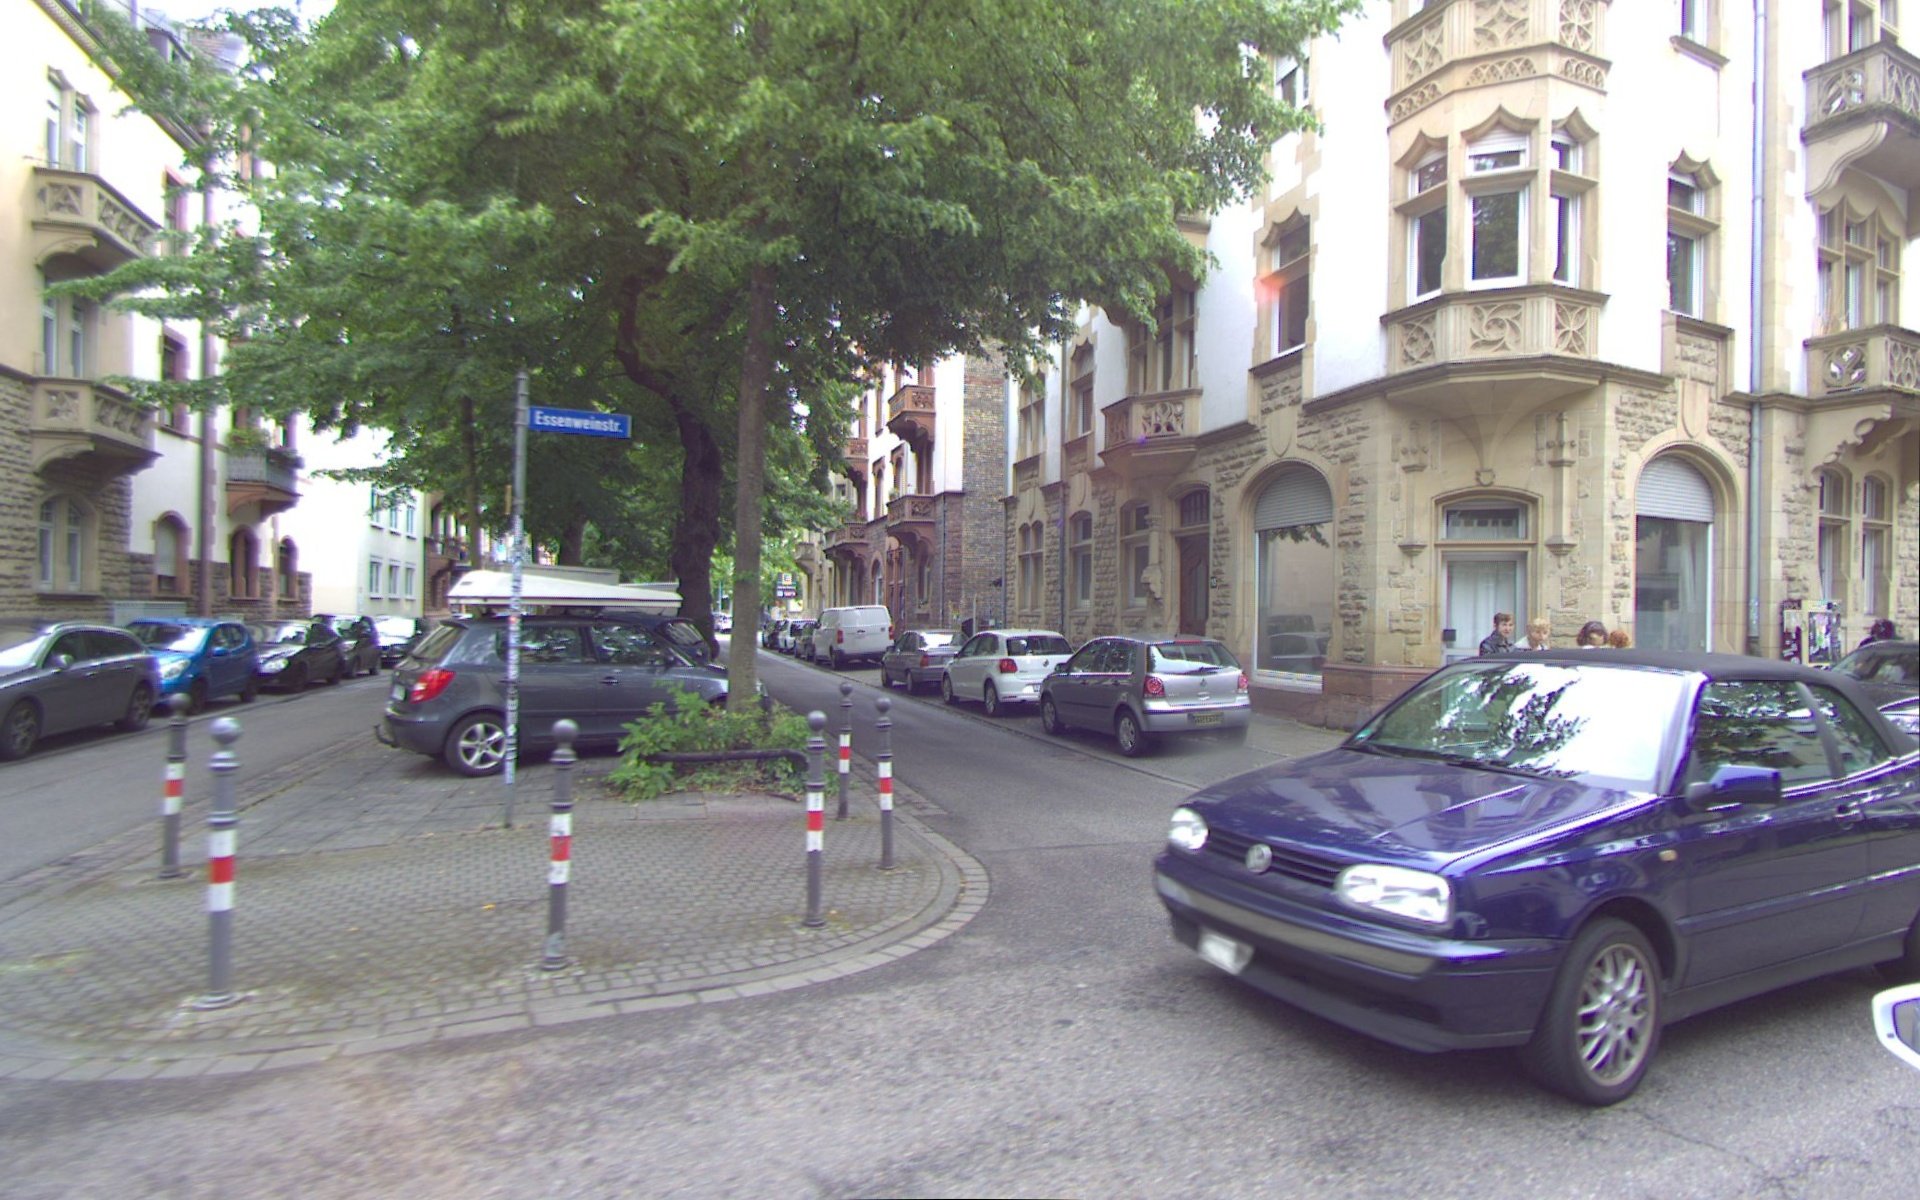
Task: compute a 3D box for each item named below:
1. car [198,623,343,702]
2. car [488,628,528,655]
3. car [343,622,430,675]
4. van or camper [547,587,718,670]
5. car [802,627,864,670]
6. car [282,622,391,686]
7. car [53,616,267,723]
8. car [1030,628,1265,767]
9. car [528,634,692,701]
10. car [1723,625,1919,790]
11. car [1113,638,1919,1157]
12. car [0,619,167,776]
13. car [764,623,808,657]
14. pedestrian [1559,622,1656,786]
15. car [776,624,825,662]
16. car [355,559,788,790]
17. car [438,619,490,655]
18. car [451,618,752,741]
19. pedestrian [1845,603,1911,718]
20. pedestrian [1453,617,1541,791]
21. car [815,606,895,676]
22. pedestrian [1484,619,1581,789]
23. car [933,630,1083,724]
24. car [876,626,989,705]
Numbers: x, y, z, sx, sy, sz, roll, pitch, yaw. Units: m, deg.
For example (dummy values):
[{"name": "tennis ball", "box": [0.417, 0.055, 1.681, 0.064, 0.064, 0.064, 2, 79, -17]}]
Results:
[{"name": "car", "box": [-14.171, 1.245, 20.833, 1.555, 1.367, 3.376, 5, -2, -19]}, {"name": "car", "box": [-23.474, 2.147, 52.223, 1.585, 1.264, 3.376, 0, 0, -19]}, {"name": "car", "box": [-17.063, 1.404, 30.053, 1.555, 1.367, 3.496, 5, -2, -19]}, {"name": "van or camper", "box": [-10.513, 0.887, 32.196, 5.198, 2.494, 2.073, 0, -1, 25]}, {"name": "car", "box": [-4.549, 1.701, 35.693, 1.692, 1.416, 3.308, 1, -1, -16]}, {"name": "car", "box": [-15.726, 1.328, 25.512, 1.555, 1.367, 3.376, 5, -2, -19]}, {"name": "car", "box": [-13.025, 1.085, 16.613, 1.638, 1.485, 3.376, 5, -2, -19]}, {"name": "car", "box": [2.355, 1.177, 13.509, 1.623, 1.480, 3.567, -1, 0, -17]}, {"name": "car", "box": [-9.152, 1.724, 26.316, 3.684, 1.537, 1.758, 2, -2, 17]}, {"name": "car", "box": [10.621, 1.119, 11.220, 3.947, 1.514, 1.704, 2, 0, -26]}, {"name": "car", "box": [2.744, 0.935, 4.473, 3.803, 1.432, 1.702, 2, -2, -27]}, {"name": "car", "box": [-11.300, 1.042, 11.861, 1.638, 1.485, 4.267, 5, -2, -19]}, {"name": "car", "box": [-8.347, 1.901, 47.987, 1.692, 1.529, 3.545, 1, -1, -16]}, {"name": "pedestrian", "box": [6.703, 1.047, 10.426, 0.656, 1.615, 0.632, 1, 0, 14]}, {"name": "car", "box": [-6.914, 1.808, 43.245, 1.692, 1.529, 3.545, 1, -1, -16]}, {"name": "car", "box": [-4.001, 0.682, 10.658, 3.928, 1.994, 1.813, 1, -1, -39]}, {"name": "car", "box": [-21.032, 1.520, 42.694, 1.585, 1.424, 3.376, 0, 0, -19]}, {"name": "car", "box": [-4.871, 1.033, 13.882, 3.539, 1.536, 1.655, 0, -1, 9]}, {"name": "pedestrian", "box": [12.545, 0.811, 13.729, 0.539, 1.538, 0.513, 1, -1, -27]}, {"name": "pedestrian", "box": [5.341, 1.008, 10.014, 0.519, 1.665, 0.528, 1, 1, -15]}, {"name": "car", "box": [-3.421, 1.249, 32.156, 1.881, 2.035, 3.519, -1, 1, -17]}, {"name": "pedestrian", "box": [5.860, 1.040, 10.301, 0.593, 1.665, 0.616, 1, 0, -15]}, {"name": "car", "box": [0.769, 1.310, 18.213, 1.623, 1.479, 3.489, 1, -1, -17]}, {"name": "car", "box": [-0.691, 1.419, 22.571, 1.623, 1.479, 3.488, 2, 0, -17]}]
